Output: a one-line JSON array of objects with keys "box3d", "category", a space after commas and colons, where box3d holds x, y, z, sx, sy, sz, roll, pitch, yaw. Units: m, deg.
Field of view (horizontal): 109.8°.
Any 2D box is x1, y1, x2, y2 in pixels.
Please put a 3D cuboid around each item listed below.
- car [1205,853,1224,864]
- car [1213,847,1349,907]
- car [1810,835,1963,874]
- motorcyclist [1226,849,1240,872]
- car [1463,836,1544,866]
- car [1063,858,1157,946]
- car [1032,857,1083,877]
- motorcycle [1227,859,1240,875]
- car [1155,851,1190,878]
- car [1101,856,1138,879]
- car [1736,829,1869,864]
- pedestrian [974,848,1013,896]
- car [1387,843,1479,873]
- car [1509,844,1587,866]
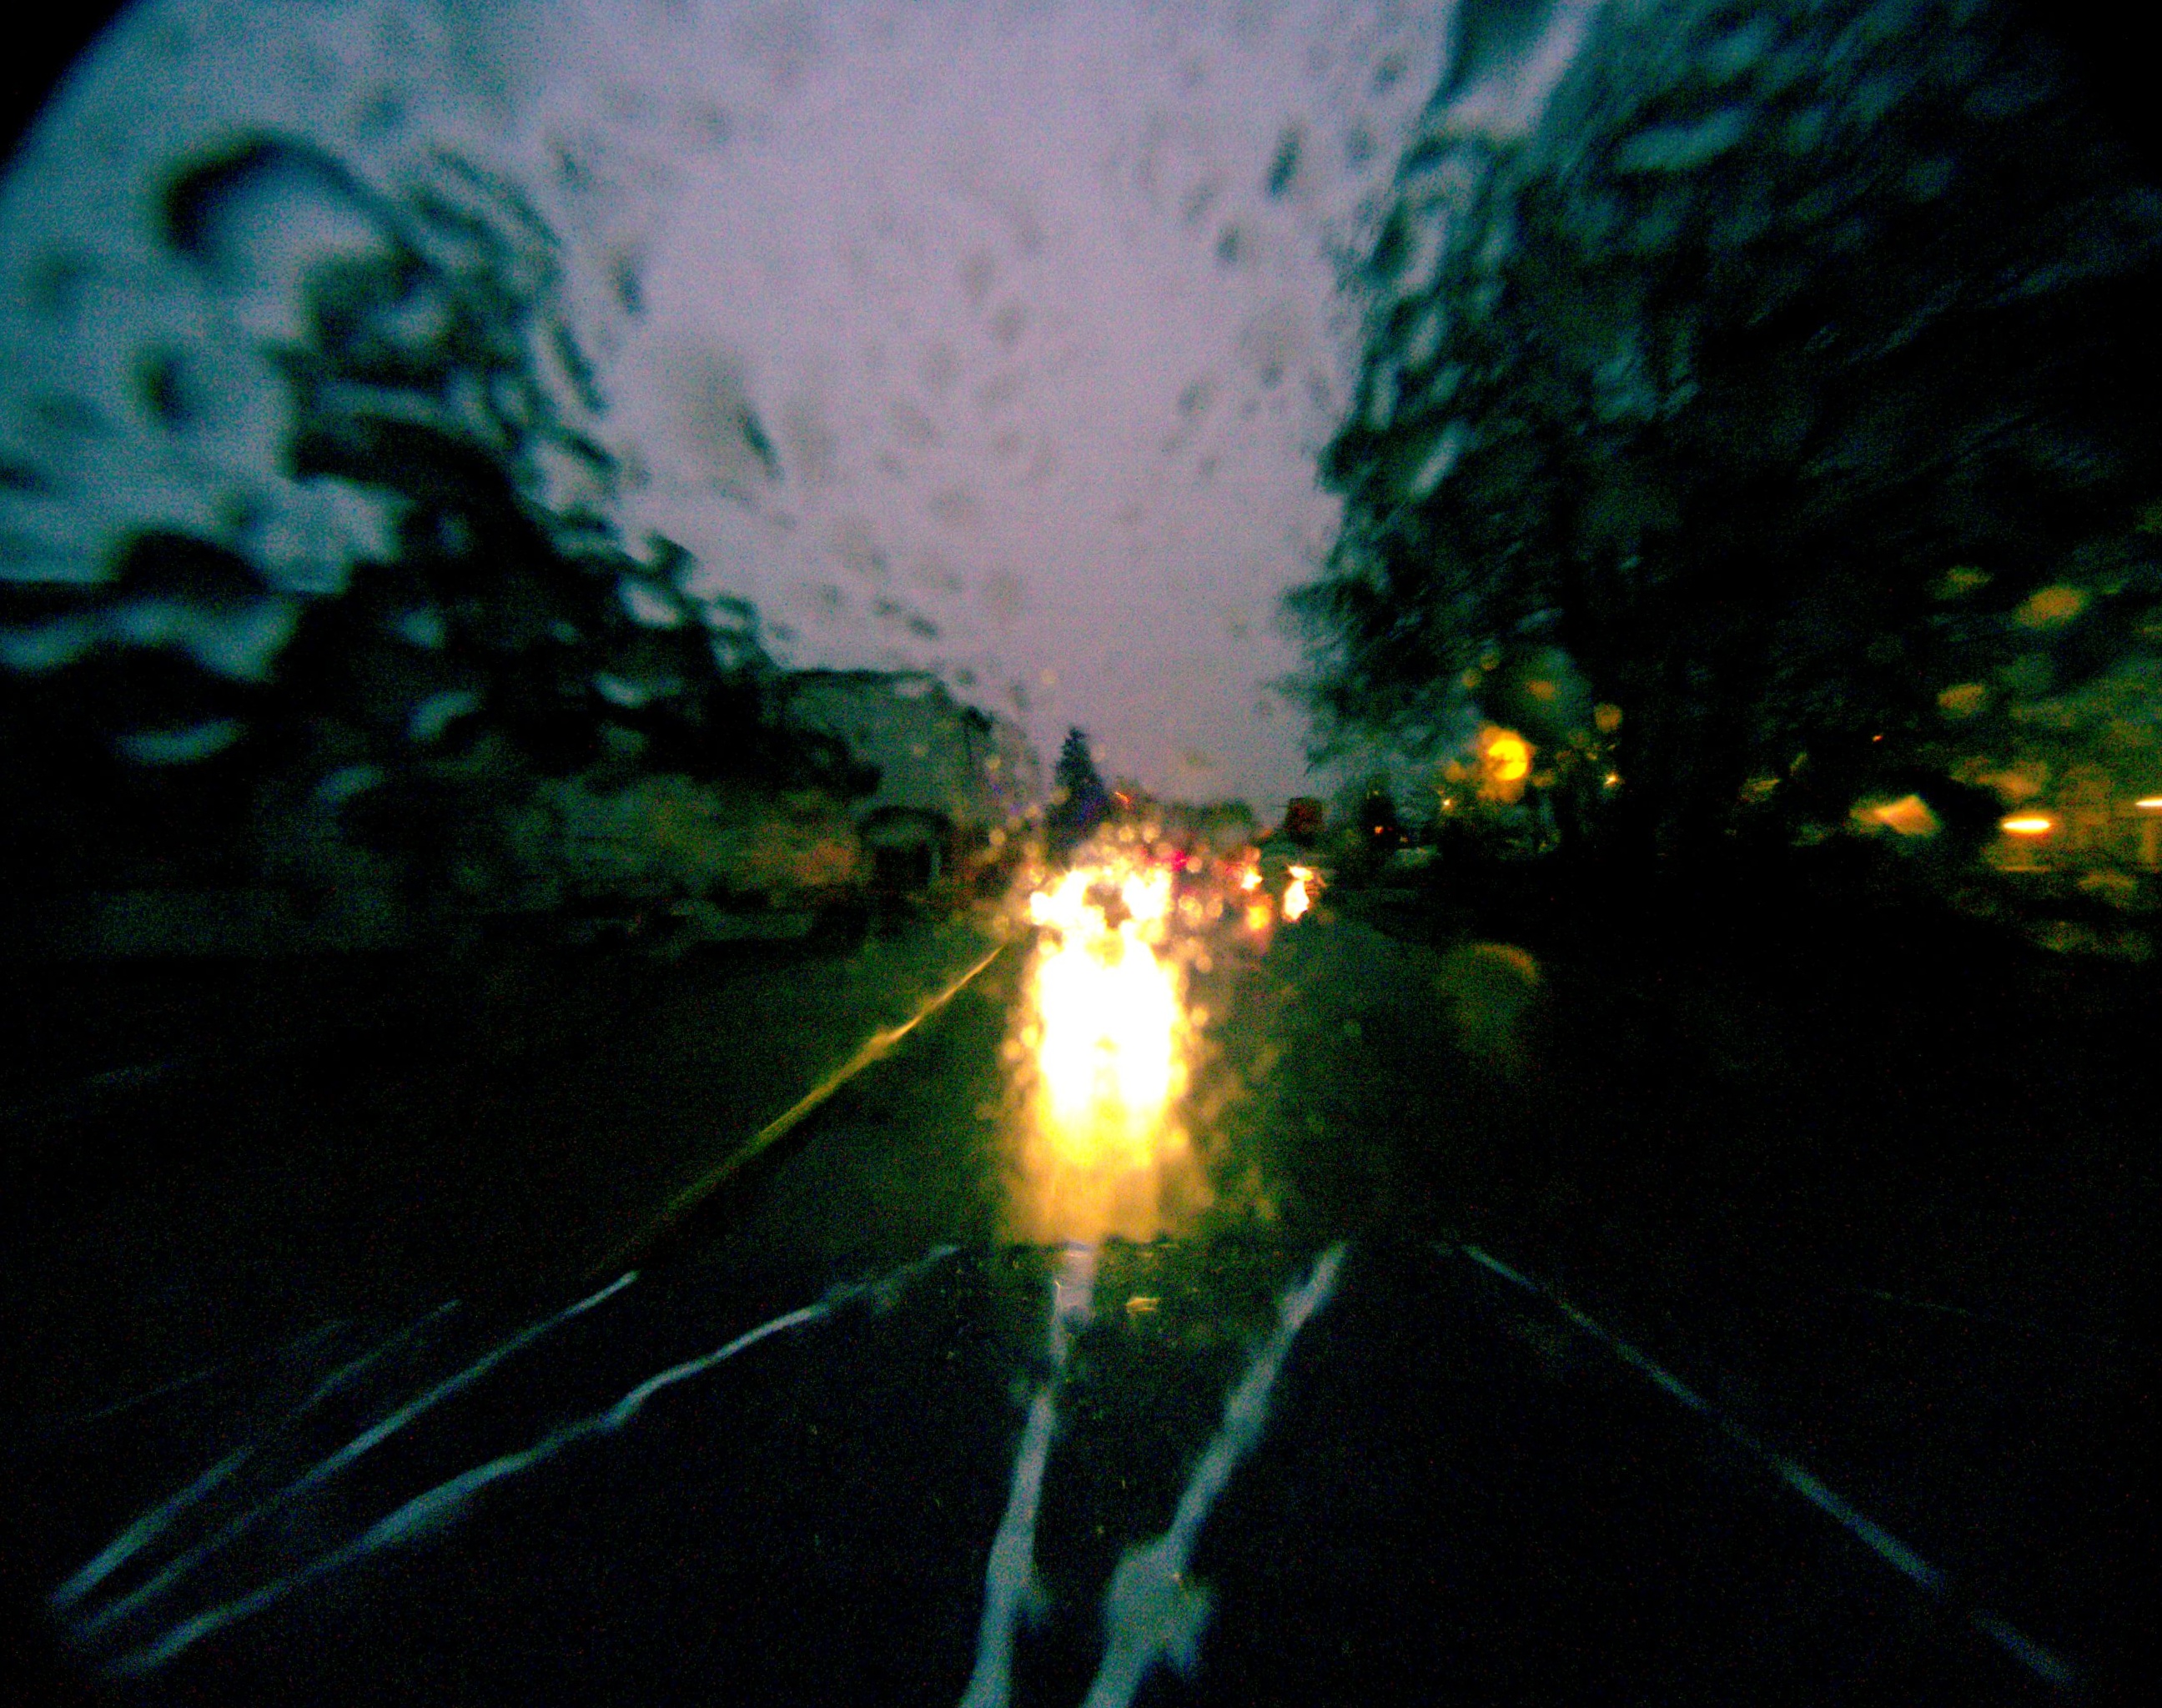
[{"box3d": [17.830, 0.618, 101.158, 1.773, 1.422, 3.802, -3, -1, 21], "category": "car"}, {"box3d": [7.053, 0.780, 26.893, 4.243, 1.689, 1.897, -4, 1, -20], "category": "car"}, {"box3d": [33.860, 0.043, 32.033, 4.442, 1.554, 2.055, 0, -1, -3], "category": "car"}, {"box3d": [10.416, 0.441, 52.010, 0.867, 1.476, 0.909, -2, 1, 12], "category": "motorcyclist"}, {"box3d": [33.146, -0.207, 59.758, 5.200, 2.269, 2.218, 0, -1, -3], "category": "car"}, {"box3d": [0.626, 0.934, 16.891, 1.776, 1.632, 4.422, -2, 0, 1], "category": "car"}, {"box3d": [-2.009, 1.121, 65.227, 4.180, 1.432, 1.798, -4, -1, 2], "category": "car"}, {"box3d": [10.441, 0.872, 52.041, 0.867, 1.018, 2.111, -2, 1, 11], "category": "motorcycle"}, {"box3d": [6.337, 0.697, 52.310, 1.774, 1.713, 4.426, -2, 0, 14], "category": "car"}, {"box3d": [2.795, 0.940, 54.330, 1.997, 1.464, 4.004, -2, 0, 12], "category": "car"}, {"box3d": [33.817, -0.325, 35.716, 4.442, 1.554, 2.055, 0, -1, -3], "category": "car"}, {"box3d": [-3.438, 0.684, 29.987, 1.257, 1.855, 1.304, 1, 1, 6], "category": "pedestrian"}, {"box3d": [21.879, 0.236, 47.341, 4.784, 1.701, 2.032, -1, 0, -4], "category": "car"}, {"box3d": [33.724, 0.100, 54.931, 4.442, 1.554, 2.055, 0, -1, -3], "category": "car"}]
